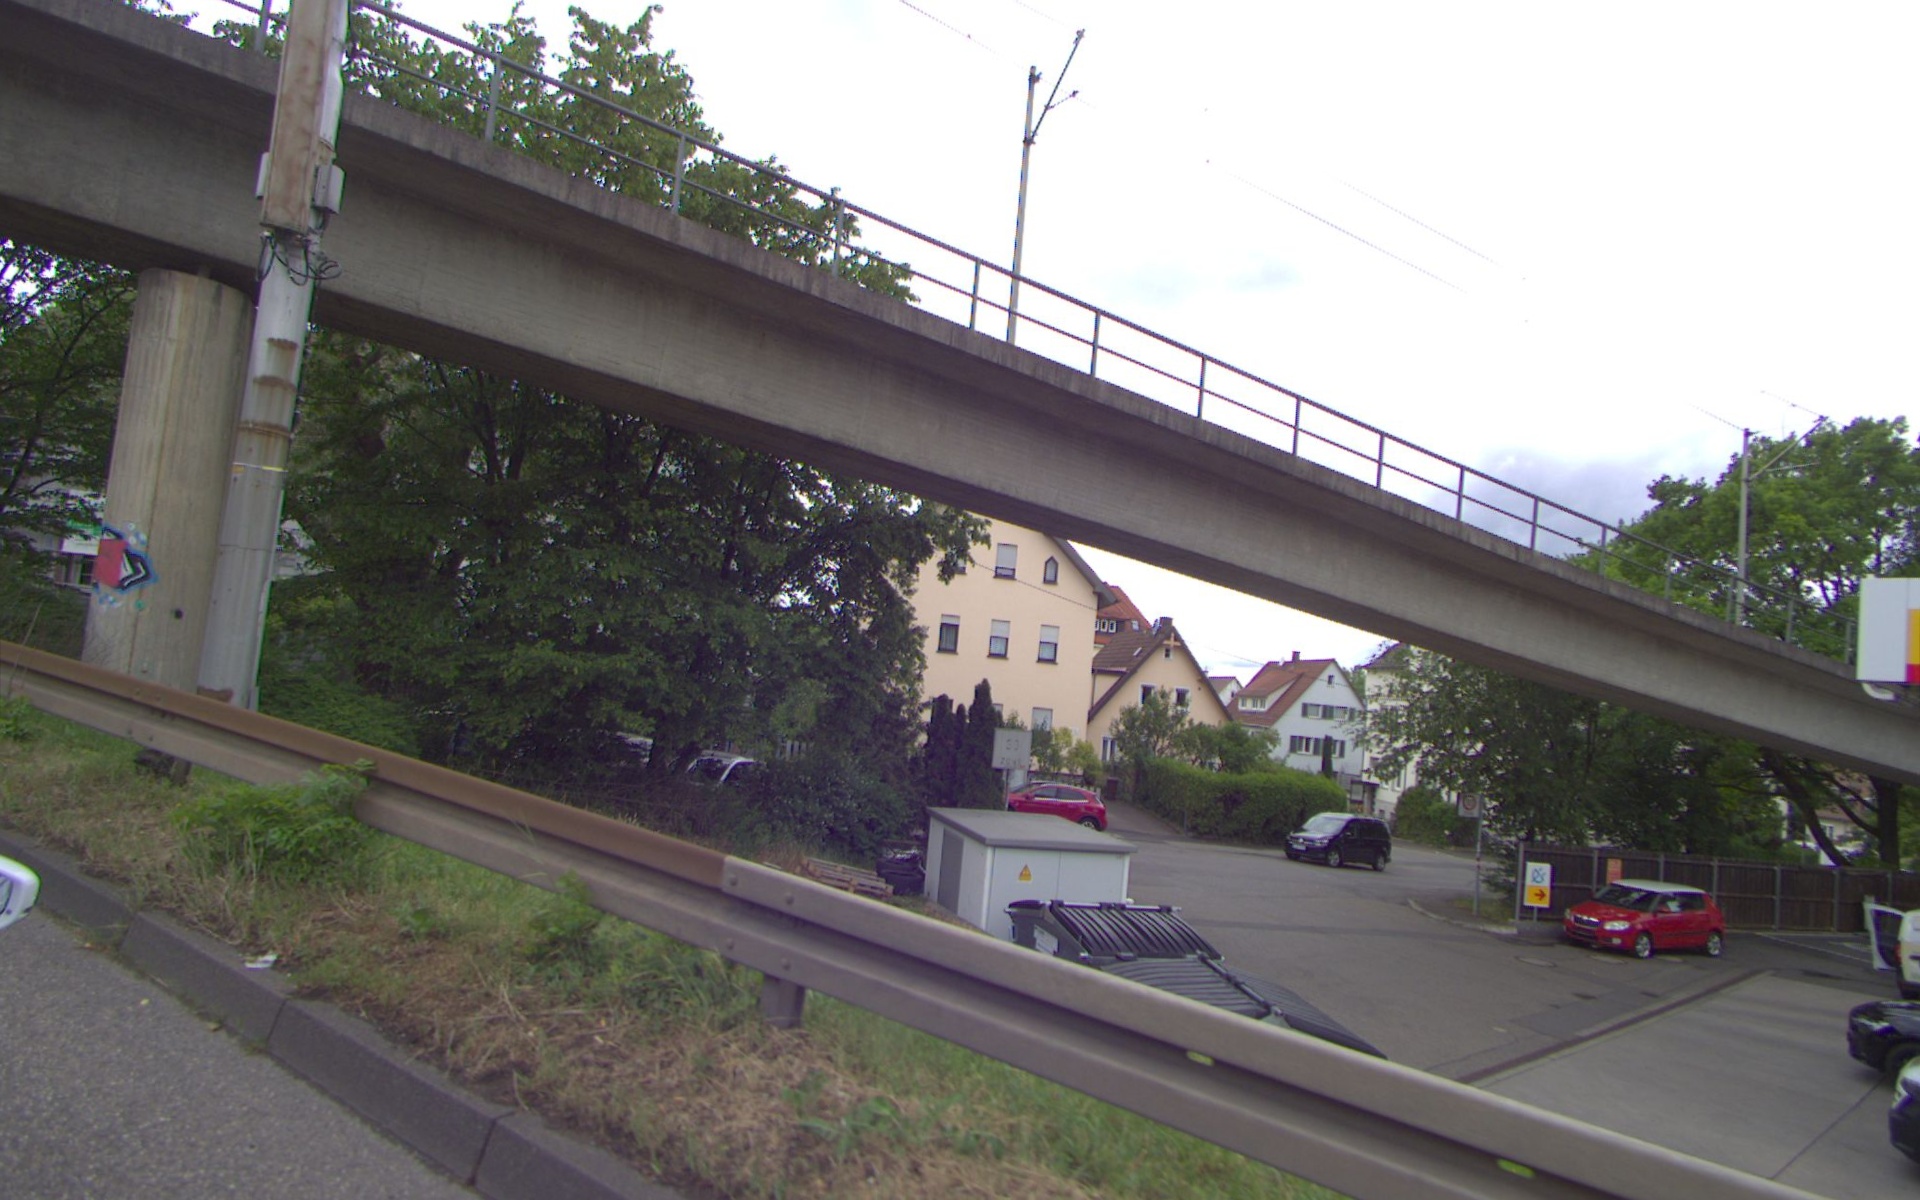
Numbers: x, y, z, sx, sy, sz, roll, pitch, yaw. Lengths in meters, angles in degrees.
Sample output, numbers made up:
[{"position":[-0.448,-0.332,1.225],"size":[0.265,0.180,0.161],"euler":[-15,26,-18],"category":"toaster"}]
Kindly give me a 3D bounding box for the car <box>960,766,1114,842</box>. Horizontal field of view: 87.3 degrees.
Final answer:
[{"position":[2.321,6.184,30.643],"size":[4.235,1.536,1.624],"euler":[10,-6,-11],"category":"car"}]

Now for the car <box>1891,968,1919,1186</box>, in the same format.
[{"position":[11.835,5.078,9.187],"size":[1.730,2.029,4.668],"euler":[12,-8,-38],"category":"car"}]

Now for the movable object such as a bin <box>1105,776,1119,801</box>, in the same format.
[{"position":[6.360,7.885,42.069],"size":[0.474,0.949,0.466],"euler":[4,-4,-4],"category":"movable object such as a bin"}]

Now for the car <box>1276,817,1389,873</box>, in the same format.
[{"position":[12.824,8.436,34.637],"size":[3.549,1.361,1.595],"euler":[12,-8,-26],"category":"car"}]

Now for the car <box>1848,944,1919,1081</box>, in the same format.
[{"position":[14.270,5.783,13.041],"size":[1.727,1.501,3.845],"euler":[9,-6,-36],"category":"car"}]

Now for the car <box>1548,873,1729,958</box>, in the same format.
[{"position":[15.567,7.212,23.099],"size":[3.576,1.474,1.653],"euler":[7,-4,-20],"category":"car"}]

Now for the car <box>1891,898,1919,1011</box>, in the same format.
[{"position":[20.269,7.098,19.981],"size":[3.840,1.959,1.728],"euler":[8,-5,-33],"category":"car"}]
